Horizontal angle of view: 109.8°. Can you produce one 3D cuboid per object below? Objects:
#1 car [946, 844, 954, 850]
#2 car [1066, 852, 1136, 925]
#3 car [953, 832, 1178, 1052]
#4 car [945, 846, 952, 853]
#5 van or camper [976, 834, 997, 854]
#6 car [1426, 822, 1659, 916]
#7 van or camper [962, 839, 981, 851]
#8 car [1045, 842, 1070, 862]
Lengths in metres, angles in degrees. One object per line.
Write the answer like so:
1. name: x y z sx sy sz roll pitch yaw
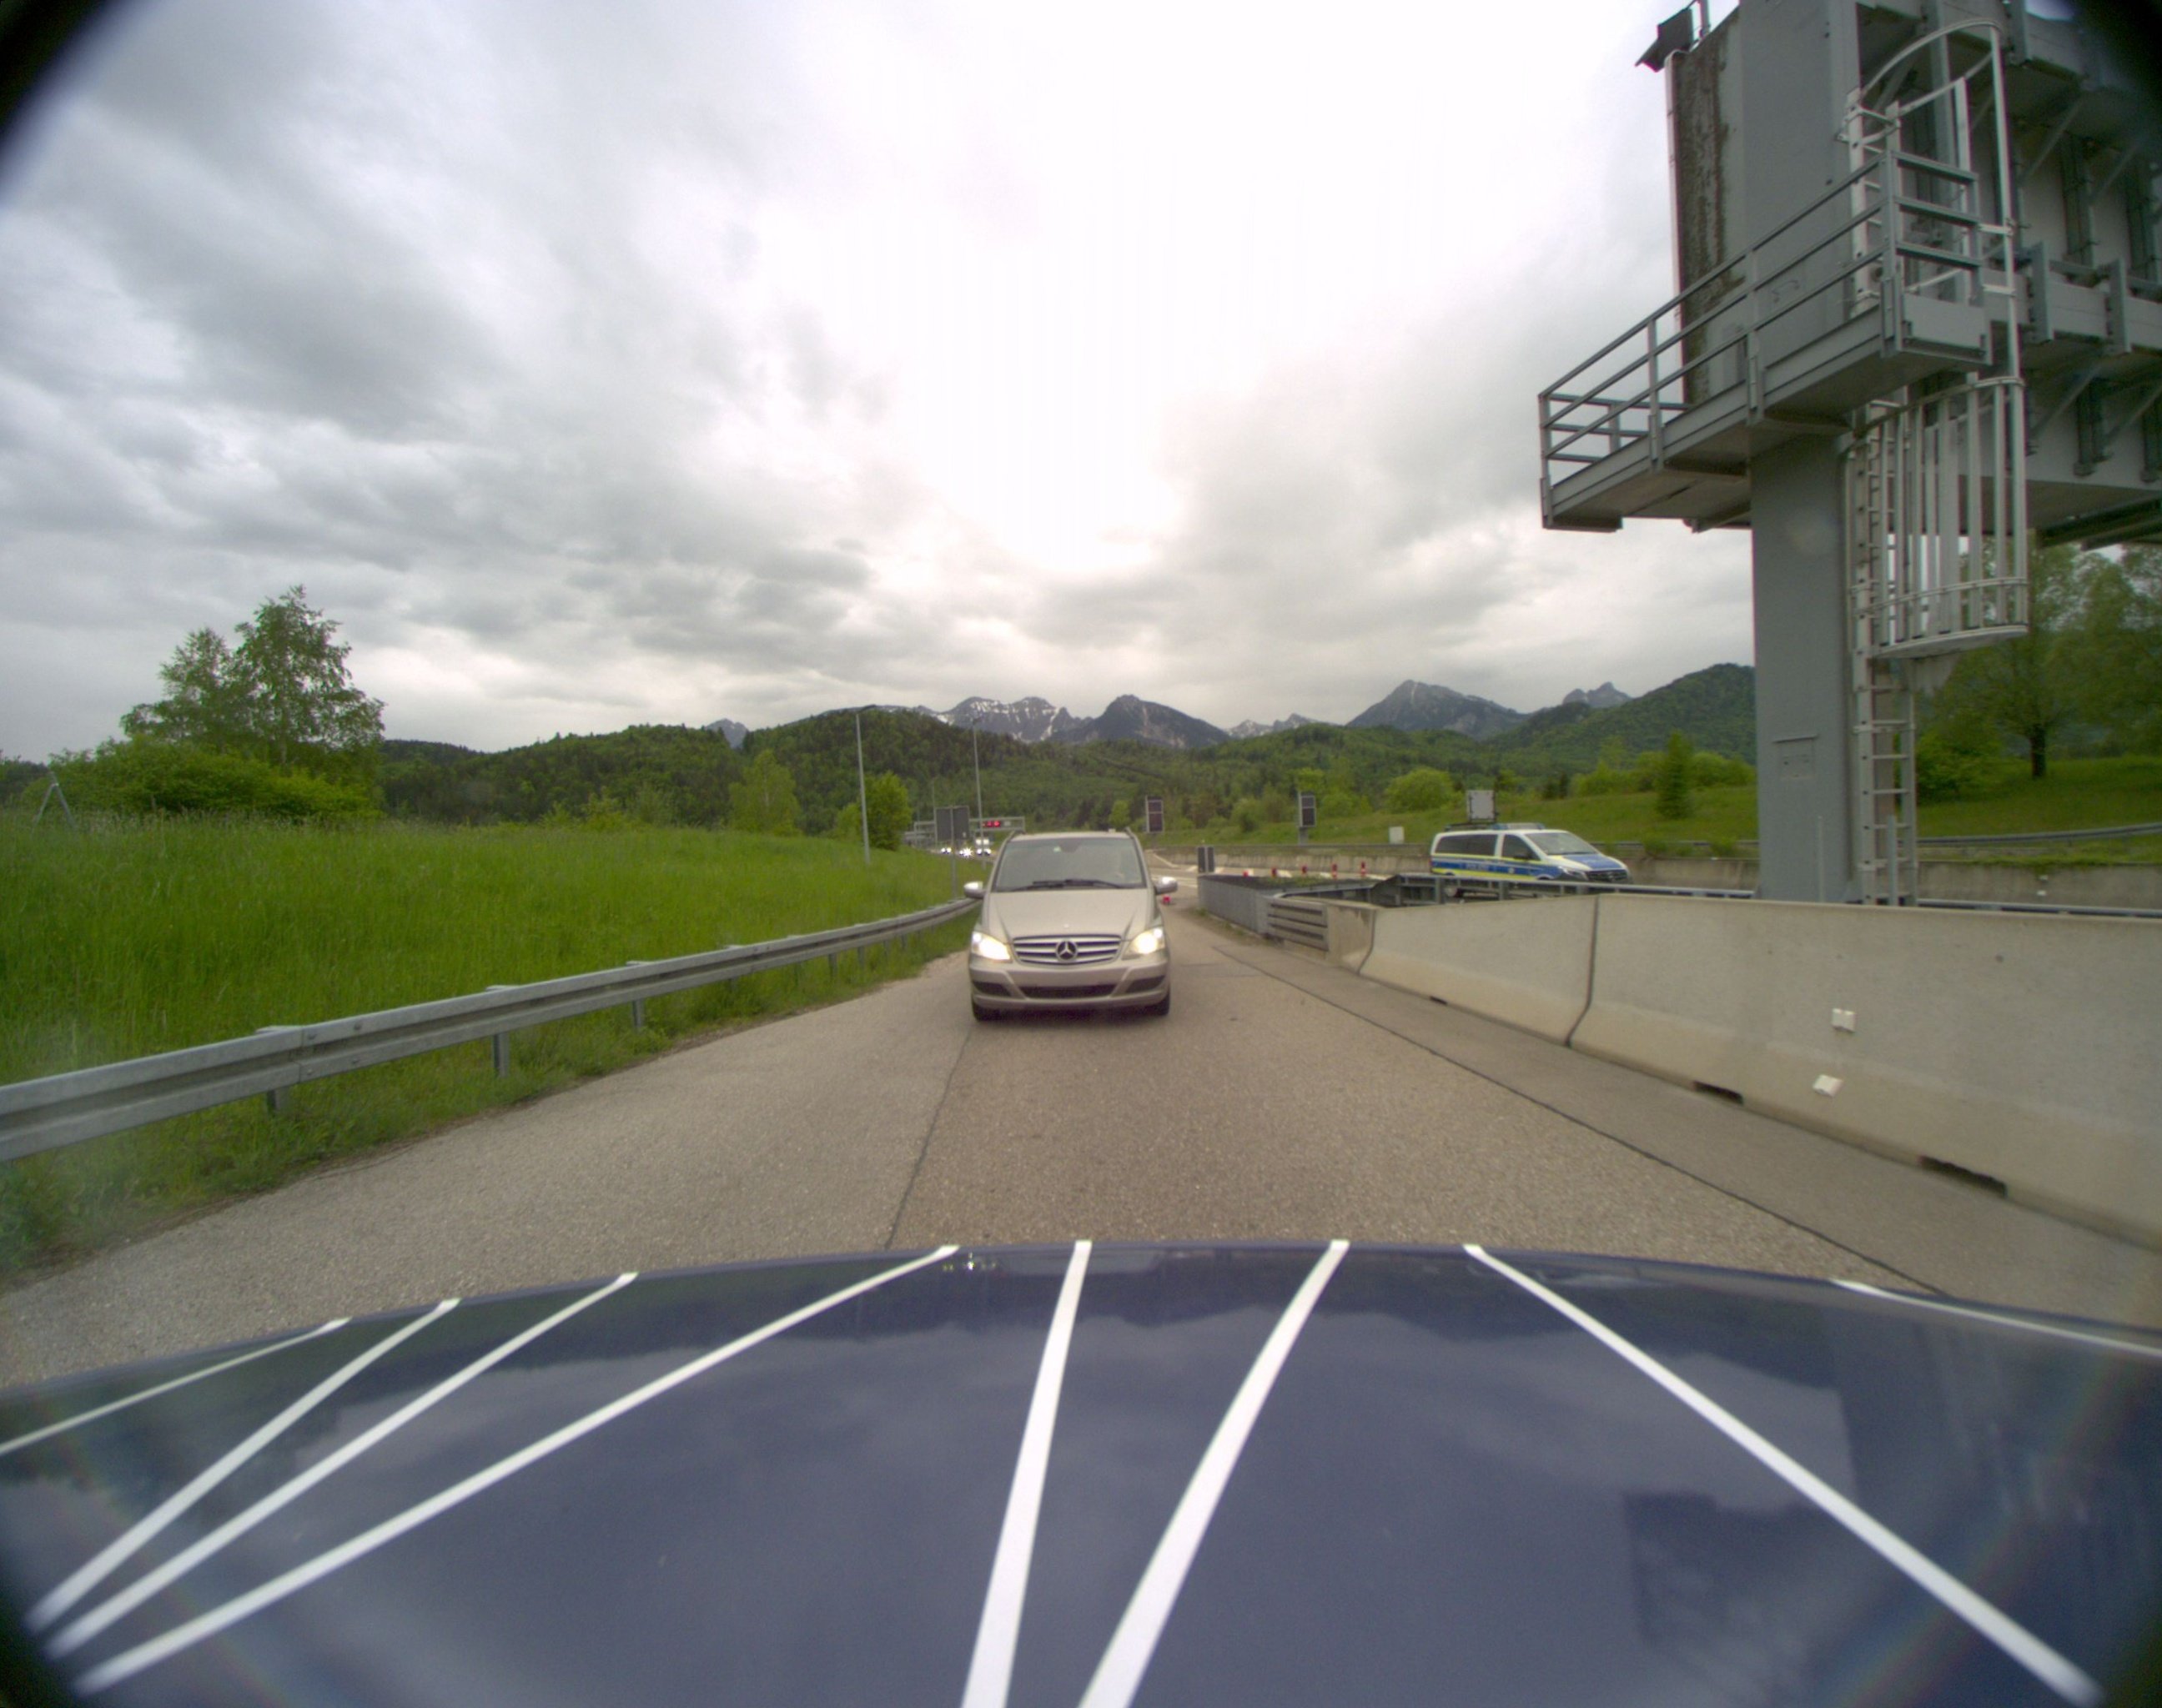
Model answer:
1. car: -36.560 -1.857 212.409 1.722 1.629 4.342 -1 1 -14
2. car: 0.511 0.807 19.825 1.591 1.662 4.000 -1 0 1
3. car: -0.099 0.709 9.210 1.862 1.833 5.616 -1 1 1
4. car: -36.911 -1.275 211.184 1.868 1.861 3.995 -1 1 -11
5. van or camper: -16.440 -1.729 131.879 2.585 3.372 7.345 -2 1 -15
6. car: 11.323 0.297 19.202 2.106 2.002 5.045 -2 1 -13
7. van or camper: -23.619 -1.903 163.813 3.345 2.629 8.190 -2 1 -13
8. car: -2.221 -0.226 70.785 1.767 1.759 3.996 -1 1 -11
